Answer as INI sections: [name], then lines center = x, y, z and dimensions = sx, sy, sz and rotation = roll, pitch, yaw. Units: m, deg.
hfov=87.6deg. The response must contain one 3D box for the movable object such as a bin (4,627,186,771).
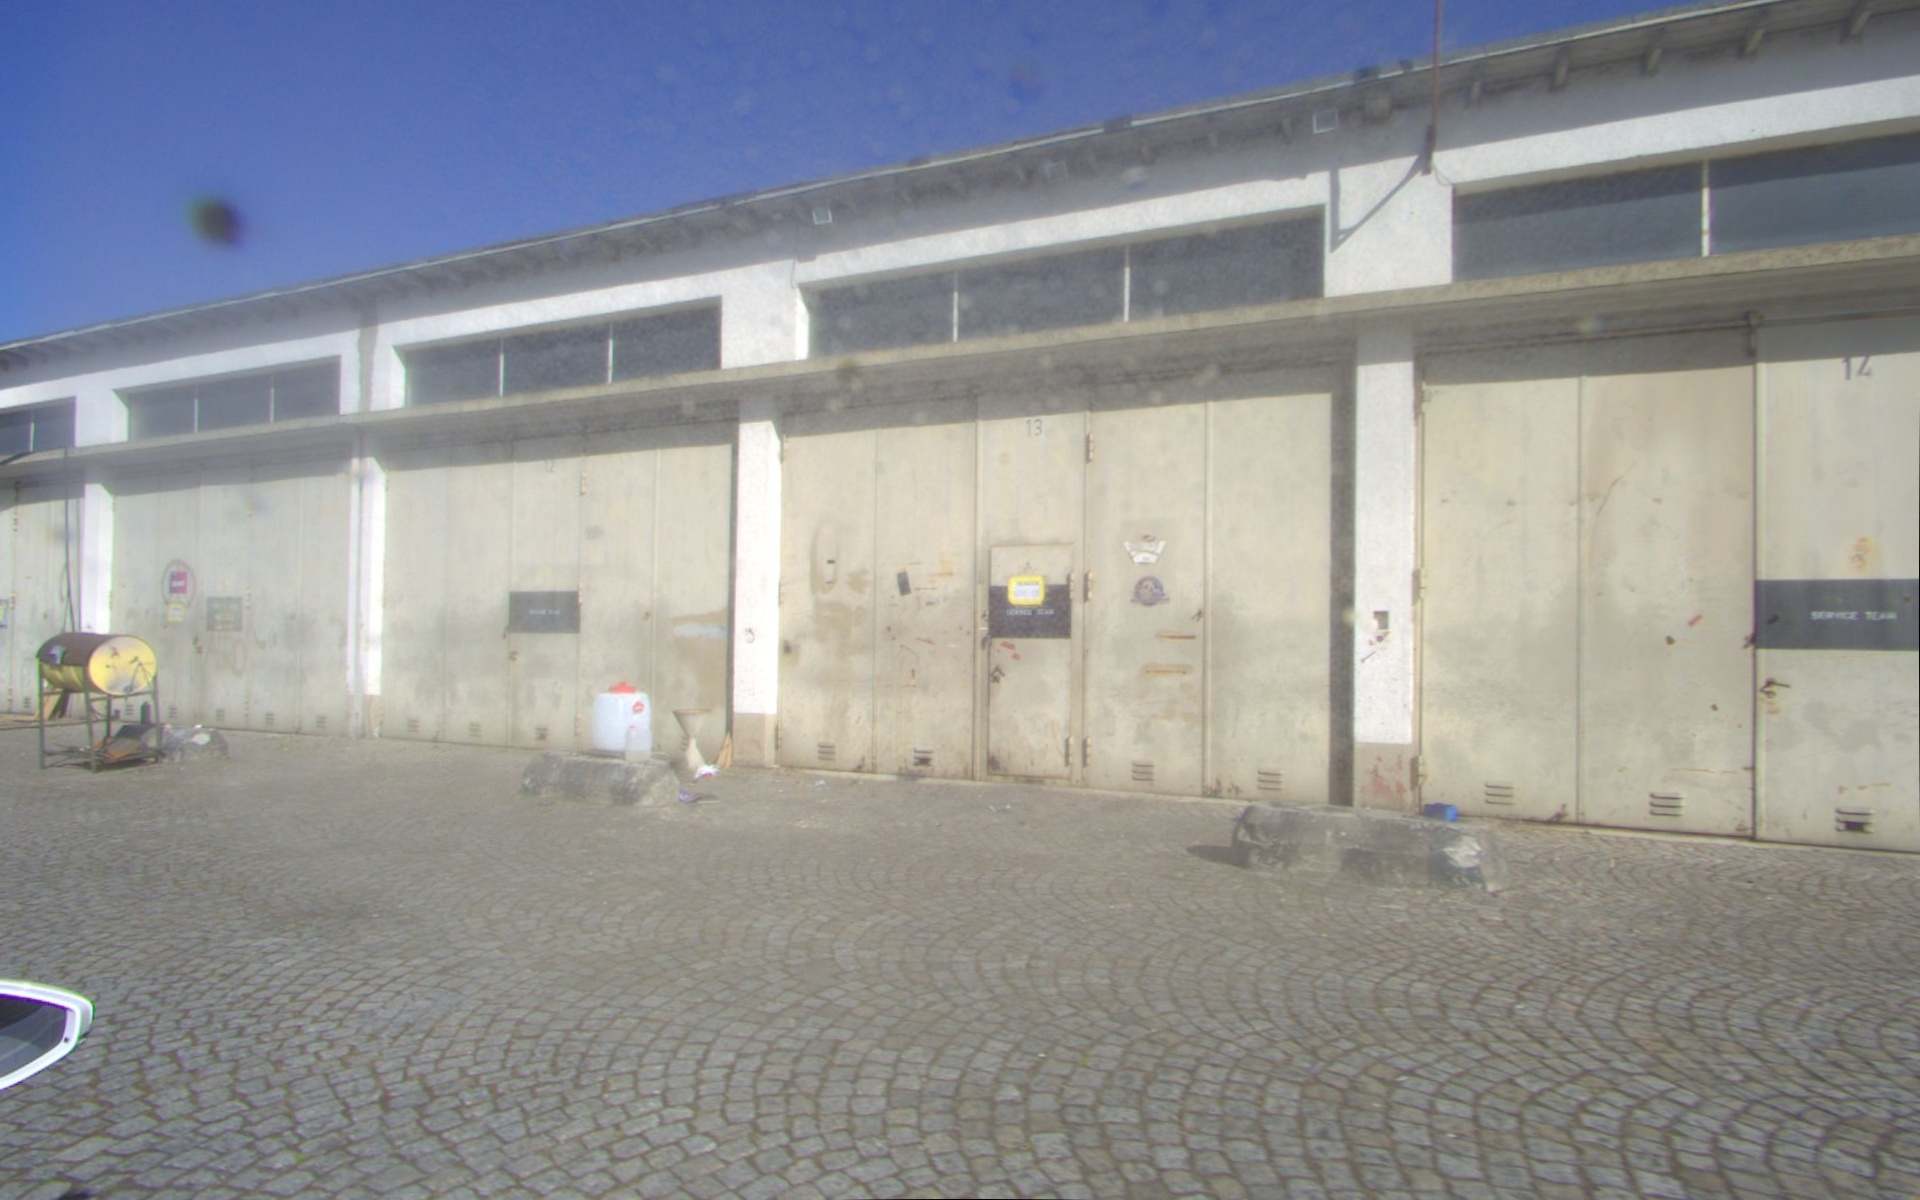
[movable object such as a bin]
center = -8.691, 0.964, 10.083
dimensions = 1.257, 1.348, 0.825
rotation = 0, -2, 19
